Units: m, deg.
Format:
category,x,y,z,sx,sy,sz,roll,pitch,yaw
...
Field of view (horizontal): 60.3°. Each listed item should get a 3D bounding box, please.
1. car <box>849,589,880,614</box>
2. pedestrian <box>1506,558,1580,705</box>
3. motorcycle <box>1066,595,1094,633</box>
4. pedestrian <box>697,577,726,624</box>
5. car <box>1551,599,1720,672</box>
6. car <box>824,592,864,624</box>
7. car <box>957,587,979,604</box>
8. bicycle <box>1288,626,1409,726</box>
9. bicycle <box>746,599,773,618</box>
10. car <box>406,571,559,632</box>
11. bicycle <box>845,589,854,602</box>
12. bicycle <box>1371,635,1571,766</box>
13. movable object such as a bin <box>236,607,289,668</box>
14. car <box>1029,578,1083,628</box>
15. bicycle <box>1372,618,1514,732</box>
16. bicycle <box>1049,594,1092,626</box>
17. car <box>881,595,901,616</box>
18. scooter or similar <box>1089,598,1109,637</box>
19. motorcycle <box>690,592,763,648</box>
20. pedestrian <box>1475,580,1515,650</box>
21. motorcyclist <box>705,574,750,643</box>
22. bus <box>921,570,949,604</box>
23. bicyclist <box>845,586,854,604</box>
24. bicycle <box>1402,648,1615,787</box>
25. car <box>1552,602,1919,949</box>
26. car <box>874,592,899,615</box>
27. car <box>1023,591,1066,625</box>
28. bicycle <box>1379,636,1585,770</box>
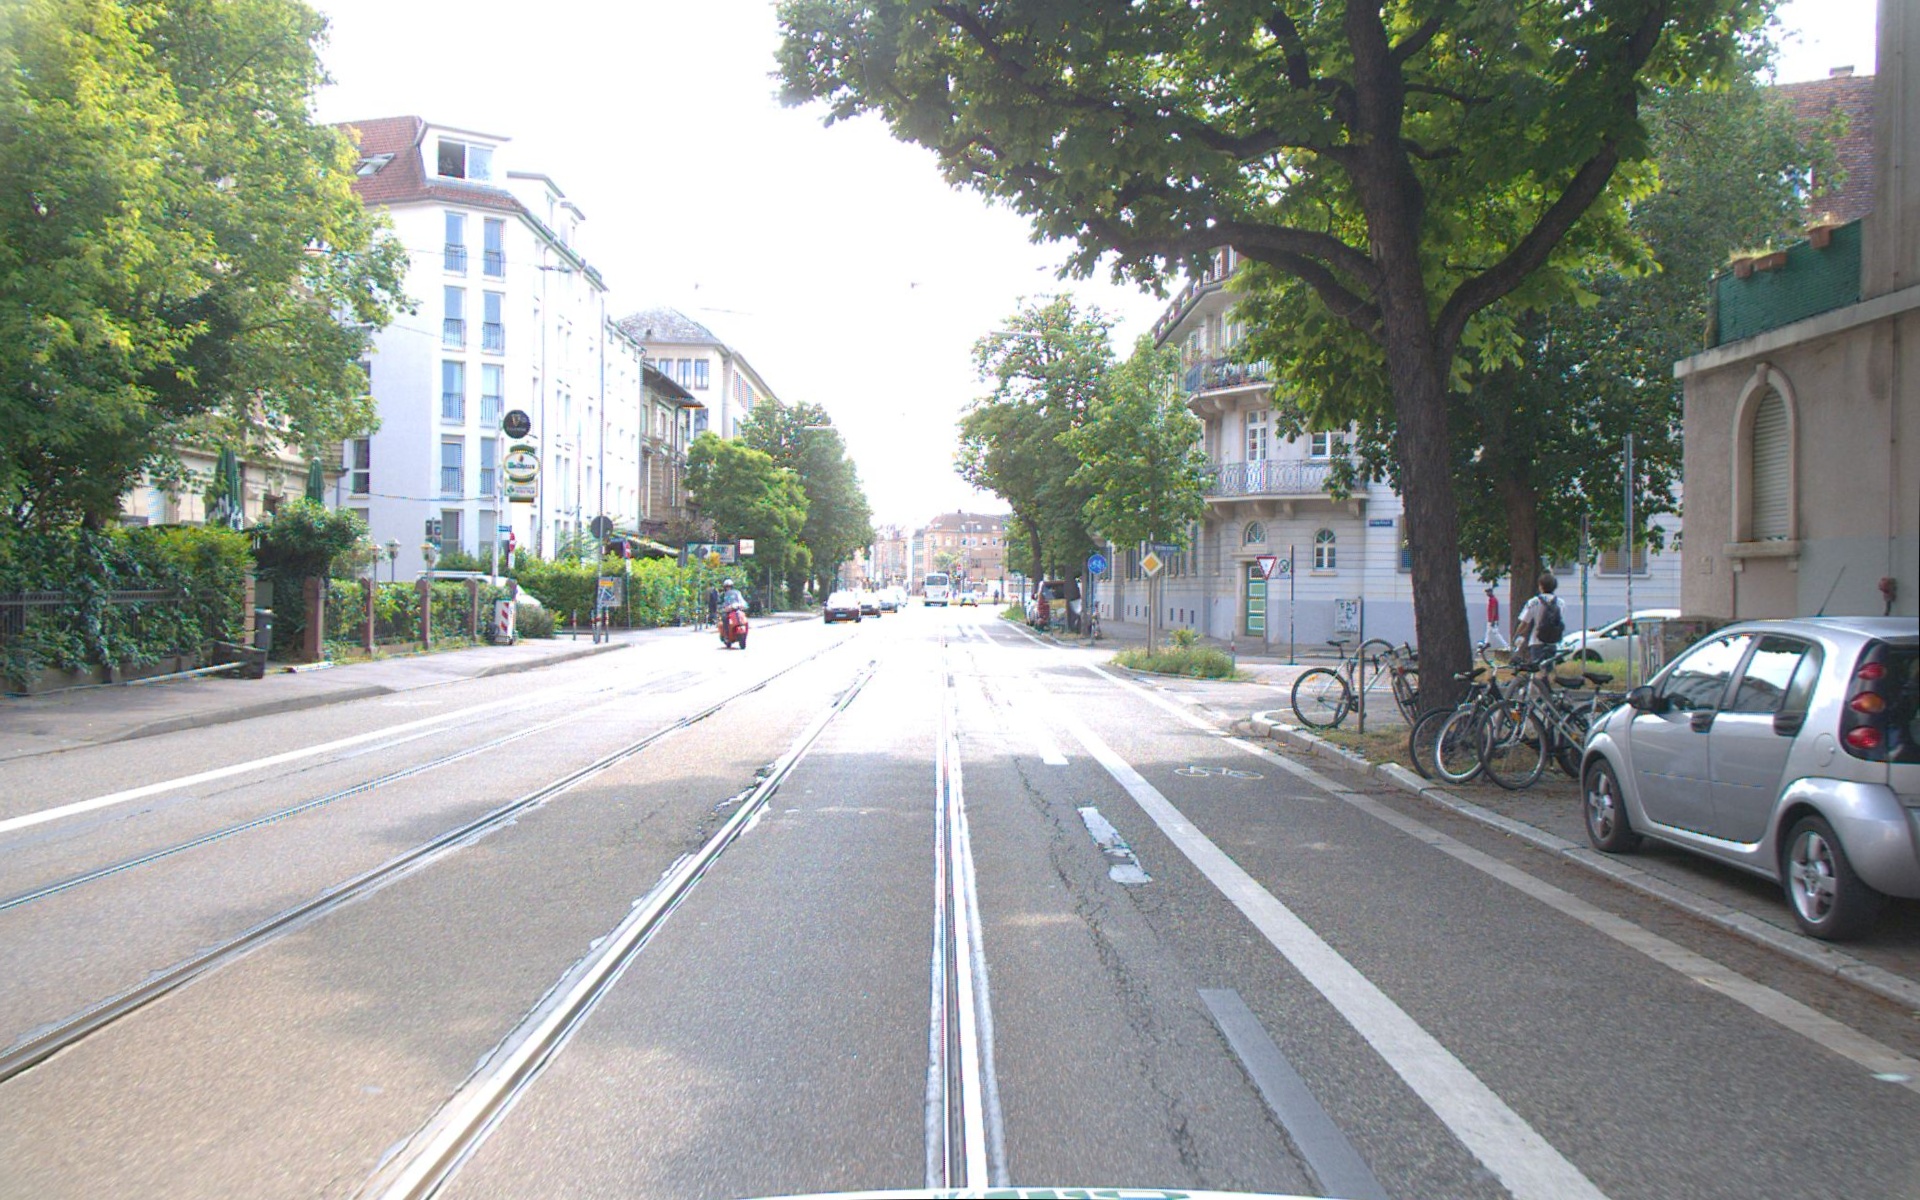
category,x,y,z,sx,sy,sz,roll,pitch,yaw
car,-5.465,0.068,95.260,1.595,1.431,4.128,1,0,-1
pedestrian,7.599,0.399,21.596,0.605,1.866,1.030,1,0,1
motorcycle,4.361,0.490,60.275,0.839,1.344,2.445,1,0,0
pedestrian,-10.401,0.039,69.277,1.037,1.951,0.829,0,0,0
car,15.655,0.780,38.323,3.537,1.524,1.730,1,2,26
car,-5.542,0.350,79.510,1.561,1.465,3.936,-1,0,1
car,0.831,-0.473,173.922,2.087,1.713,4.100,2,1,-3
bicycle,4.364,0.847,18.615,1.242,1.085,0.478,1,0,-2
bicycle,-11.113,0.472,91.973,1.119,0.924,2.988,3,0,-1
car,-16.430,0.050,56.950,4.829,2.049,2.050,0,0,21
bicycle,-9.998,-0.425,149.593,0.590,1.116,2.023,-5,0,2
bicycle,4.419,0.862,14.339,1.612,1.089,0.348,1,0,3
movable object such as a bin,-11.117,0.593,26.379,0.567,0.941,0.641,1,0,-1
car,3.906,0.121,67.824,1.857,1.975,4.950,0,0,-1
bicycle,5.392,0.815,18.575,0.576,1.178,1.826,1,0,-19
bicycle,4.285,0.397,64.141,1.578,1.224,0.589,0,0,-4
car,-6.401,0.476,153.419,1.859,1.940,5.382,0,0,-2
scooter or similar,4.679,0.586,55.609,0.521,1.273,1.720,0,0,0
motorcycle,-6.041,0.506,42.660,2.052,1.384,0.737,1,0,43
pedestrian,15.245,0.425,47.145,0.955,1.971,0.901,1,-1,26
motorcyclist,-5.998,0.220,42.619,0.905,1.744,0.737,0,0,42
bus,-2.678,-1.325,175.001,2.859,3.386,12.202,1,0,-1
bicyclist,-10.001,-0.442,149.583,0.587,1.518,0.882,-5,0,2
bicycle,4.474,0.953,13.525,1.612,1.089,0.348,1,0,2
car,4.762,0.768,9.117,1.553,1.470,3.897,1,0,-1
car,-5.210,0.248,117.122,1.692,1.567,4.275,-1,0,-2
car,3.853,0.335,76.181,1.672,1.524,4.788,0,0,-1
bicycle,4.395,0.858,13.964,1.612,1.089,0.348,1,0,3
